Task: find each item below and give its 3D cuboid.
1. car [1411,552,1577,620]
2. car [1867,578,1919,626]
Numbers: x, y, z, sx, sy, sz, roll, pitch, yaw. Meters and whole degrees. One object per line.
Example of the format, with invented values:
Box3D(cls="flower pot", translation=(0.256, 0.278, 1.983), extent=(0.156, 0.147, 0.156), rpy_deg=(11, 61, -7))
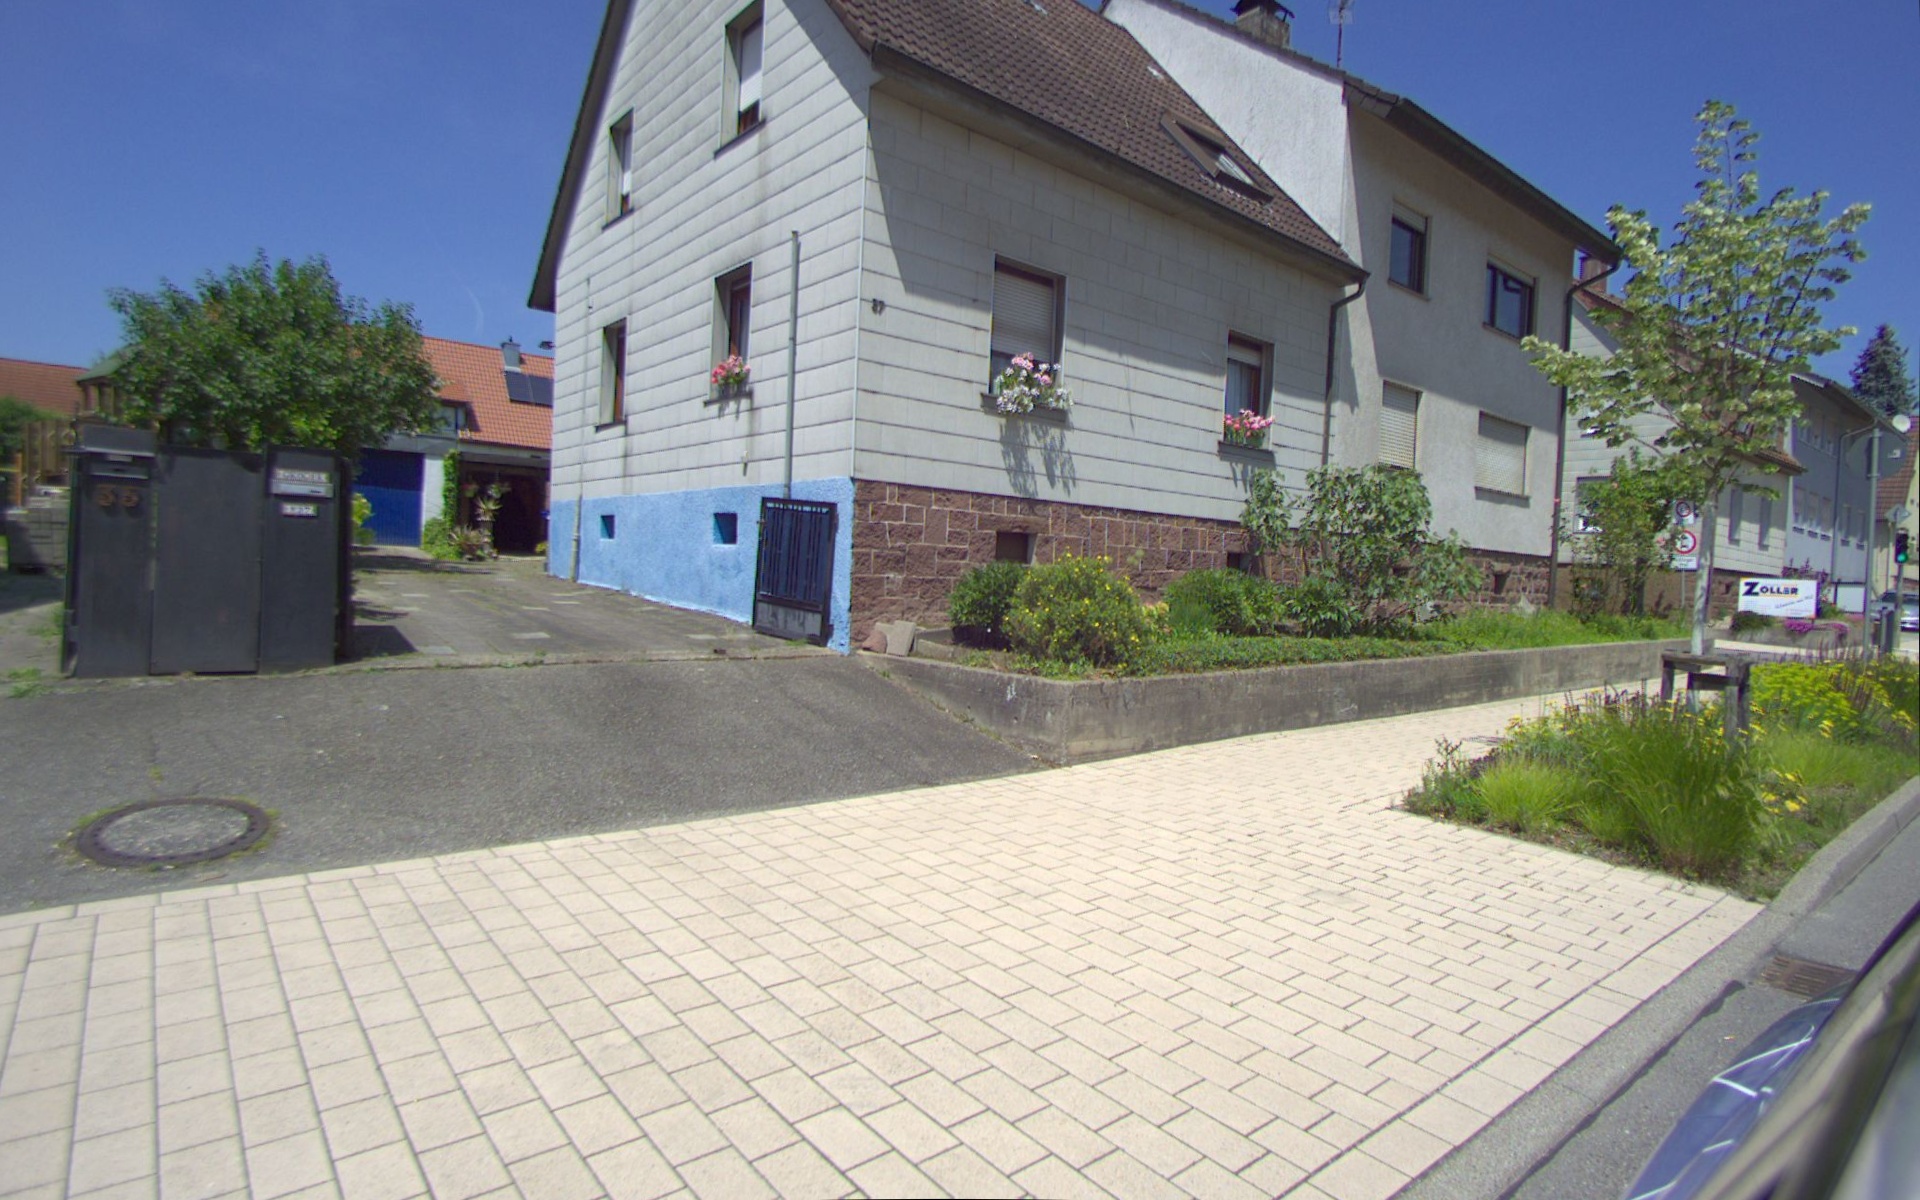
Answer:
Box3D(cls="car", translation=(14.601, -0.423, 27.823), extent=(1.766, 1.509, 3.527), rpy_deg=(-1, 6, -37))
Box3D(cls="car", translation=(36.409, 0.049, 38.590), extent=(4.426, 1.640, 1.869), rpy_deg=(-1, 6, -39))
